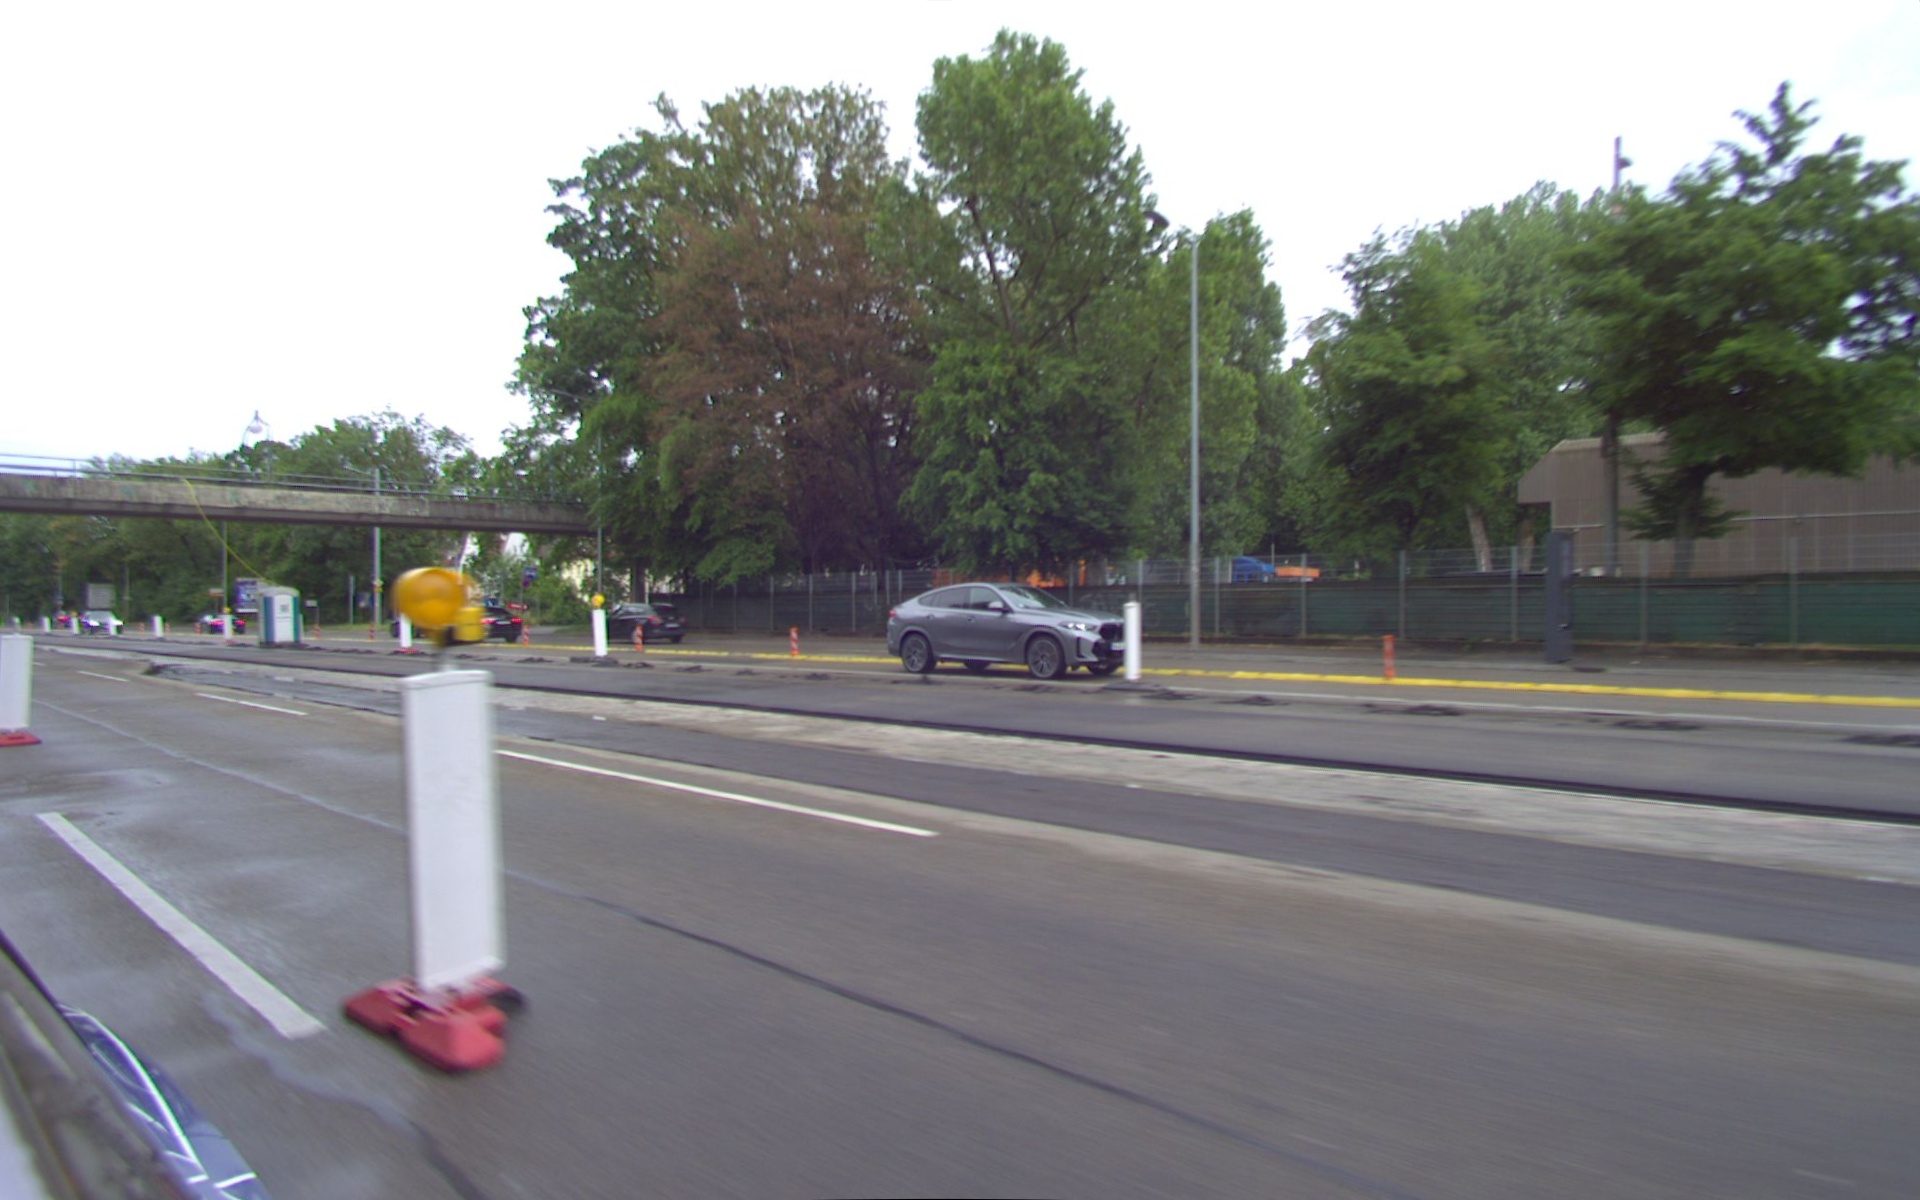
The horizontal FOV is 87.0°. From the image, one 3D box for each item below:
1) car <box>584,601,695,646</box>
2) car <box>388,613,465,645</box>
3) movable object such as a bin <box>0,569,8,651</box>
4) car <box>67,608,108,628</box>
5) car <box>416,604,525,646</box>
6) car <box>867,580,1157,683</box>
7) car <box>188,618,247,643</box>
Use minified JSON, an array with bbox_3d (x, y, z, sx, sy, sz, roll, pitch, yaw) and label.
[{"bbox_3d":[-11.921,0.832,37.476,4.303,1.529,1.973,-1,1,41],"label":"car"},{"bbox_3d":[-26.415,1.401,50.014,4.566,1.358,1.972,1,2,43],"label":"car"},{"bbox_3d":[-57.740,0.623,58.067,10.065,4.555,3.481,-1,1,41],"label":"movable object such as a bin"},{"bbox_3d":[-82.823,1.687,96.044,5.053,1.752,2.193,-1,1,41],"label":"car"},{"bbox_3d":[-19.501,0.970,40.218,5.087,1.524,2.056,-1,0,41],"label":"car"},{"bbox_3d":[0.827,0.497,18.395,5.053,1.625,2.055,-1,1,41],"label":"car"},{"bbox_3d":[-47.854,1.954,65.170,4.880,1.470,1.973,-1,1,40],"label":"car"}]
